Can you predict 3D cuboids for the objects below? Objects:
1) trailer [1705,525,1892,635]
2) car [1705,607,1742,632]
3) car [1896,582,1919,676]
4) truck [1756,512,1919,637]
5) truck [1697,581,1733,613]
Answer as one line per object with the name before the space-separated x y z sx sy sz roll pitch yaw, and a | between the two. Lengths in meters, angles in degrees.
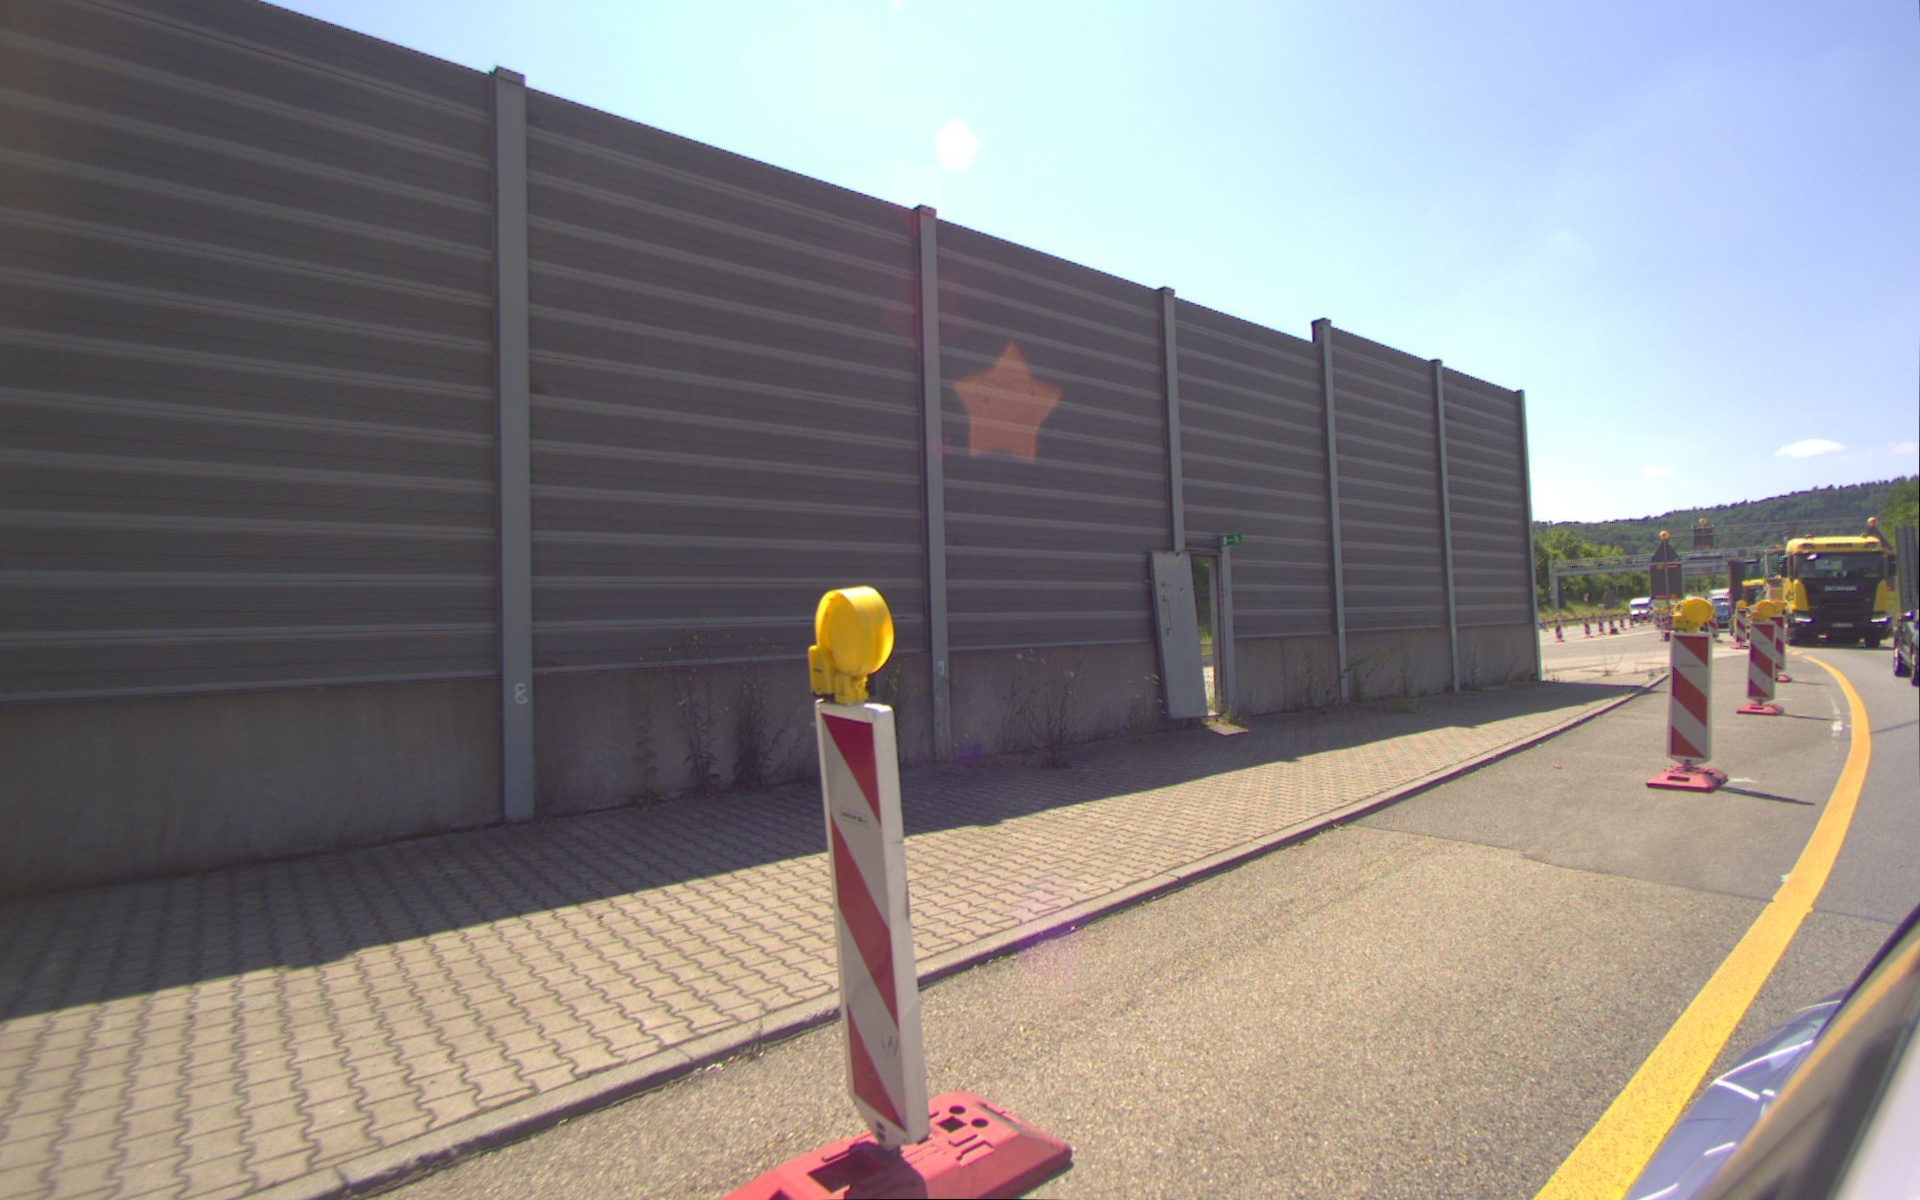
trailer | 35.444 -0.521 43.727 3.211 3.715 17.229 -5 -3 30
car | 46.524 1.176 61.711 1.465 1.466 4.309 0 0 32
car | 18.794 0.534 18.650 1.811 1.717 4.432 -1 0 37
truck | 30.347 -0.700 35.053 3.205 3.709 7.004 -5 -4 31
truck | 100.366 -0.276 134.383 3.221 3.715 17.179 -5 -4 38
